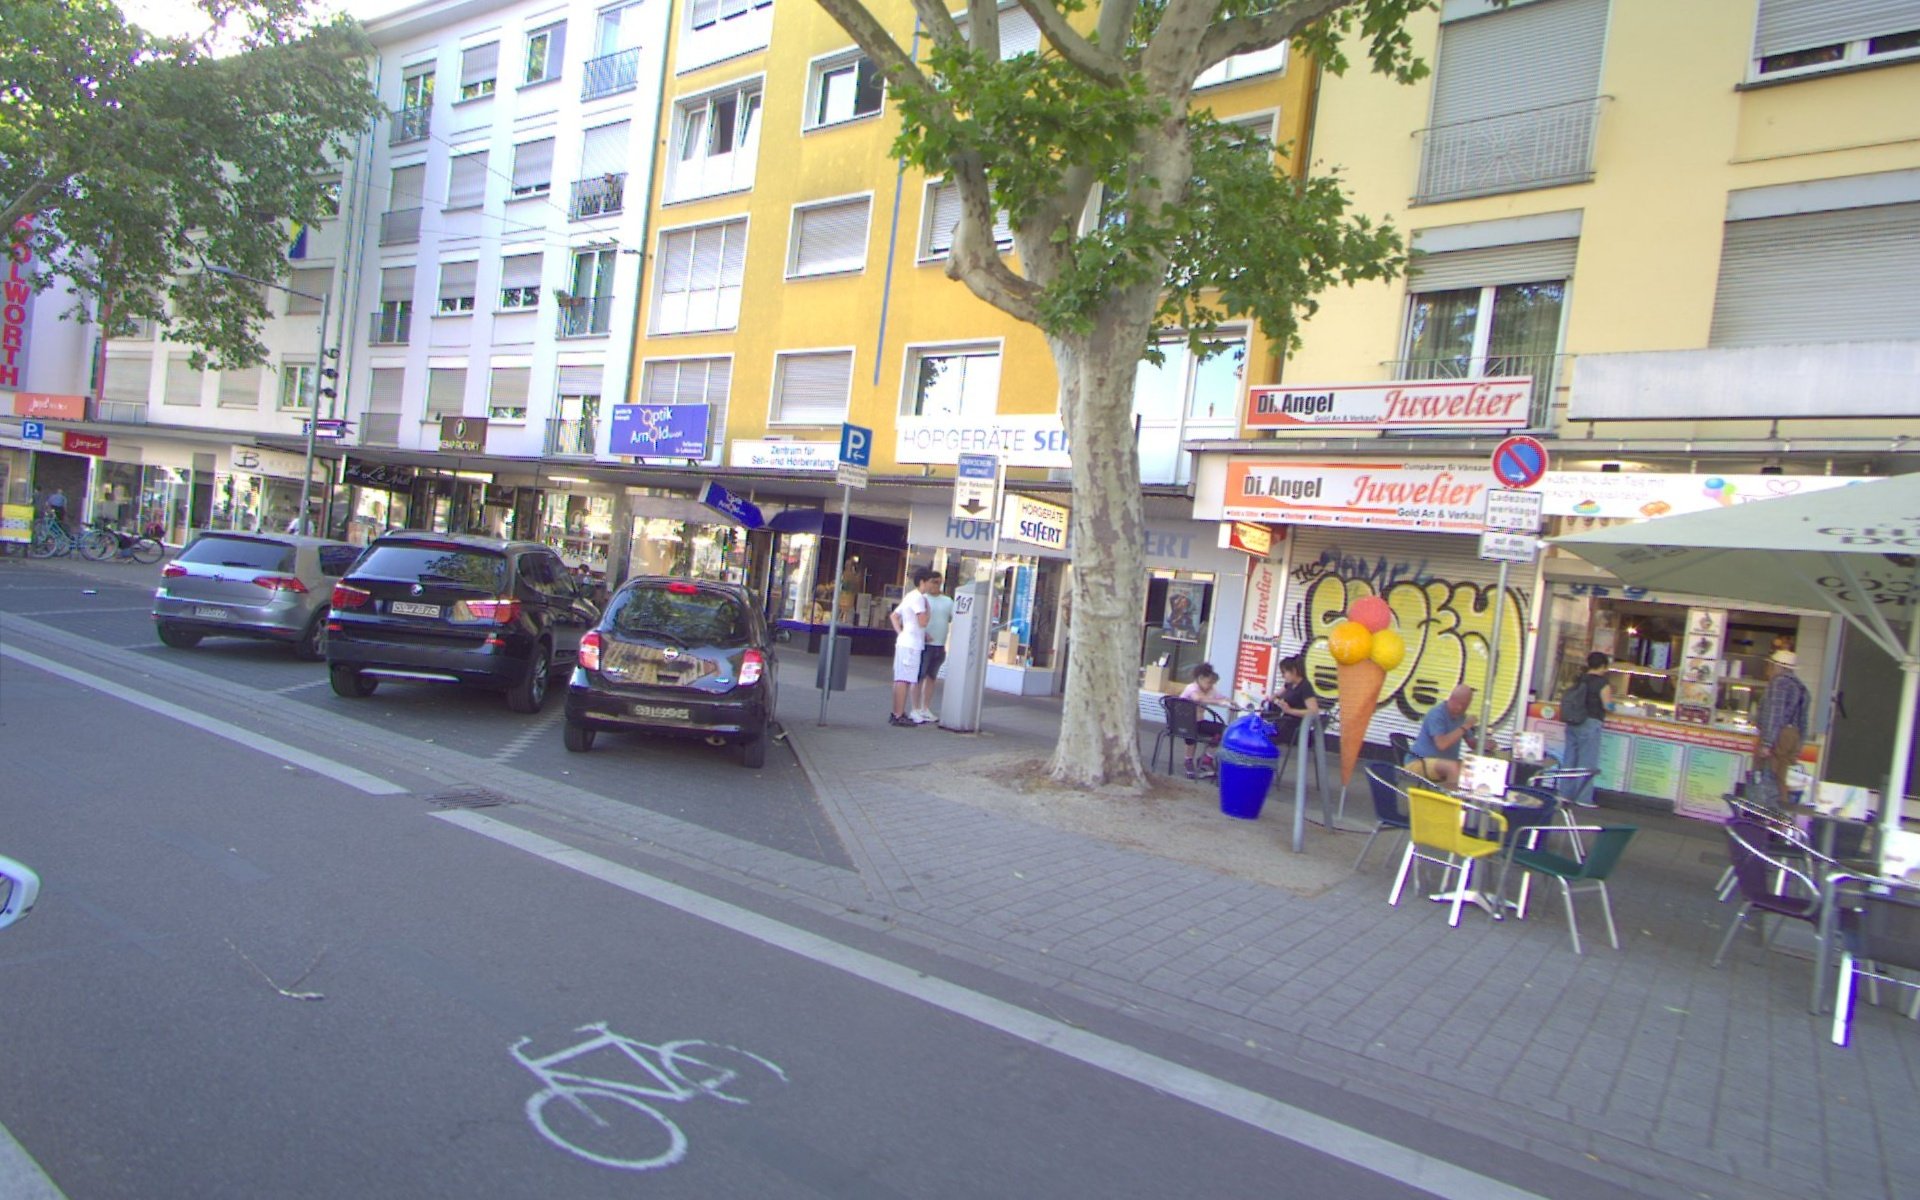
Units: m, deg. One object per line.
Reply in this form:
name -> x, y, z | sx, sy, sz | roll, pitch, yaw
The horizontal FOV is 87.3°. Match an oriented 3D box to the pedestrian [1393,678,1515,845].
pedestrian -> 4.140, 1.317, 8.427 | 0.733, 1.240, 0.606 | 7, 1, 32

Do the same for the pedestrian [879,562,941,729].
pedestrian -> -0.576, 0.525, 11.704 | 0.466, 1.855, 0.517 | 6, 1, 5

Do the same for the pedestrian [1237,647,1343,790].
pedestrian -> 3.310, 1.174, 10.074 | 0.746, 1.290, 0.584 | 7, -1, 33

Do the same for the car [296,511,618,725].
car -> -5.131, 0.149, 10.953 | 1.778, 1.702, 4.144 | 6, 0, -8

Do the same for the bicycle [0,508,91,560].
bicycle -> -23.641, -1.696, 25.911 | 0.660, 1.205, 1.788 | 6, 3, 24

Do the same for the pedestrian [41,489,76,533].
pedestrian -> -38.334, -3.777, 42.772 | 0.820, 1.701, 0.749 | 9, 2, 26

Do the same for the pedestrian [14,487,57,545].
pedestrian -> -31.146, -2.833, 33.892 | 0.751, 1.816, 0.781 | 7, 1, 32

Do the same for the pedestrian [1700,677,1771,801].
pedestrian -> 8.790, 1.561, 11.418 | 0.500, 1.313, 0.425 | 7, 2, 36

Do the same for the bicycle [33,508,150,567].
bicycle -> -22.086, -1.573, 25.614 | 0.818, 1.249, 2.079 | 7, 1, 37

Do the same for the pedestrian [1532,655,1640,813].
pedestrian -> 6.651, 1.404, 10.705 | 0.618, 1.567, 0.633 | 2, 3, -27

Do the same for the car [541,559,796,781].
car -> -2.547, 0.537, 9.621 | 1.712, 1.559, 3.602 | 6, 0, -8

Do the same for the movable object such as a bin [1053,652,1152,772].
movable object such as a bin -> 1.420, 1.095, 10.095 | 0.824, 1.035, 0.930 | 7, -1, 7

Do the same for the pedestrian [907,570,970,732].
pedestrian -> -0.255, 0.601, 12.065 | 0.466, 1.855, 0.517 | 6, 1, 10

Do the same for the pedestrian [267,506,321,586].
pedestrian -> -16.846, -1.353, 25.446 | 0.809, 1.900, 0.645 | 7, 1, 19

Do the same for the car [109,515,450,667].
car -> -8.503, -0.105, 13.107 | 1.777, 1.469, 4.173 | 6, 0, -5

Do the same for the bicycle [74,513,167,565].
bicycle -> -22.053, -1.600, 26.458 | 0.668, 1.169, 1.760 | 7, 2, 40

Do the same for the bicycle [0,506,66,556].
bicycle -> -24.616, -1.820, 26.210 | 0.701, 1.205, 1.871 | 7, 3, 40

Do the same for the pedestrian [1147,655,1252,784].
pedestrian -> 2.374, 1.169, 9.960 | 0.738, 1.128, 0.584 | 7, -1, 33

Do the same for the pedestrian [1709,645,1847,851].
pedestrian -> 7.730, 1.383, 9.522 | 0.628, 1.827, 0.623 | 6, 1, -22

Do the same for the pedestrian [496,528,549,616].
pedestrian -> -9.470, -0.606, 21.767 | 0.776, 1.816, 0.705 | 7, 5, 38

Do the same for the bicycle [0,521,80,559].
bicycle -> -25.105, -1.638, 27.197 | 0.701, 0.775, 1.874 | 9, 1, 40
